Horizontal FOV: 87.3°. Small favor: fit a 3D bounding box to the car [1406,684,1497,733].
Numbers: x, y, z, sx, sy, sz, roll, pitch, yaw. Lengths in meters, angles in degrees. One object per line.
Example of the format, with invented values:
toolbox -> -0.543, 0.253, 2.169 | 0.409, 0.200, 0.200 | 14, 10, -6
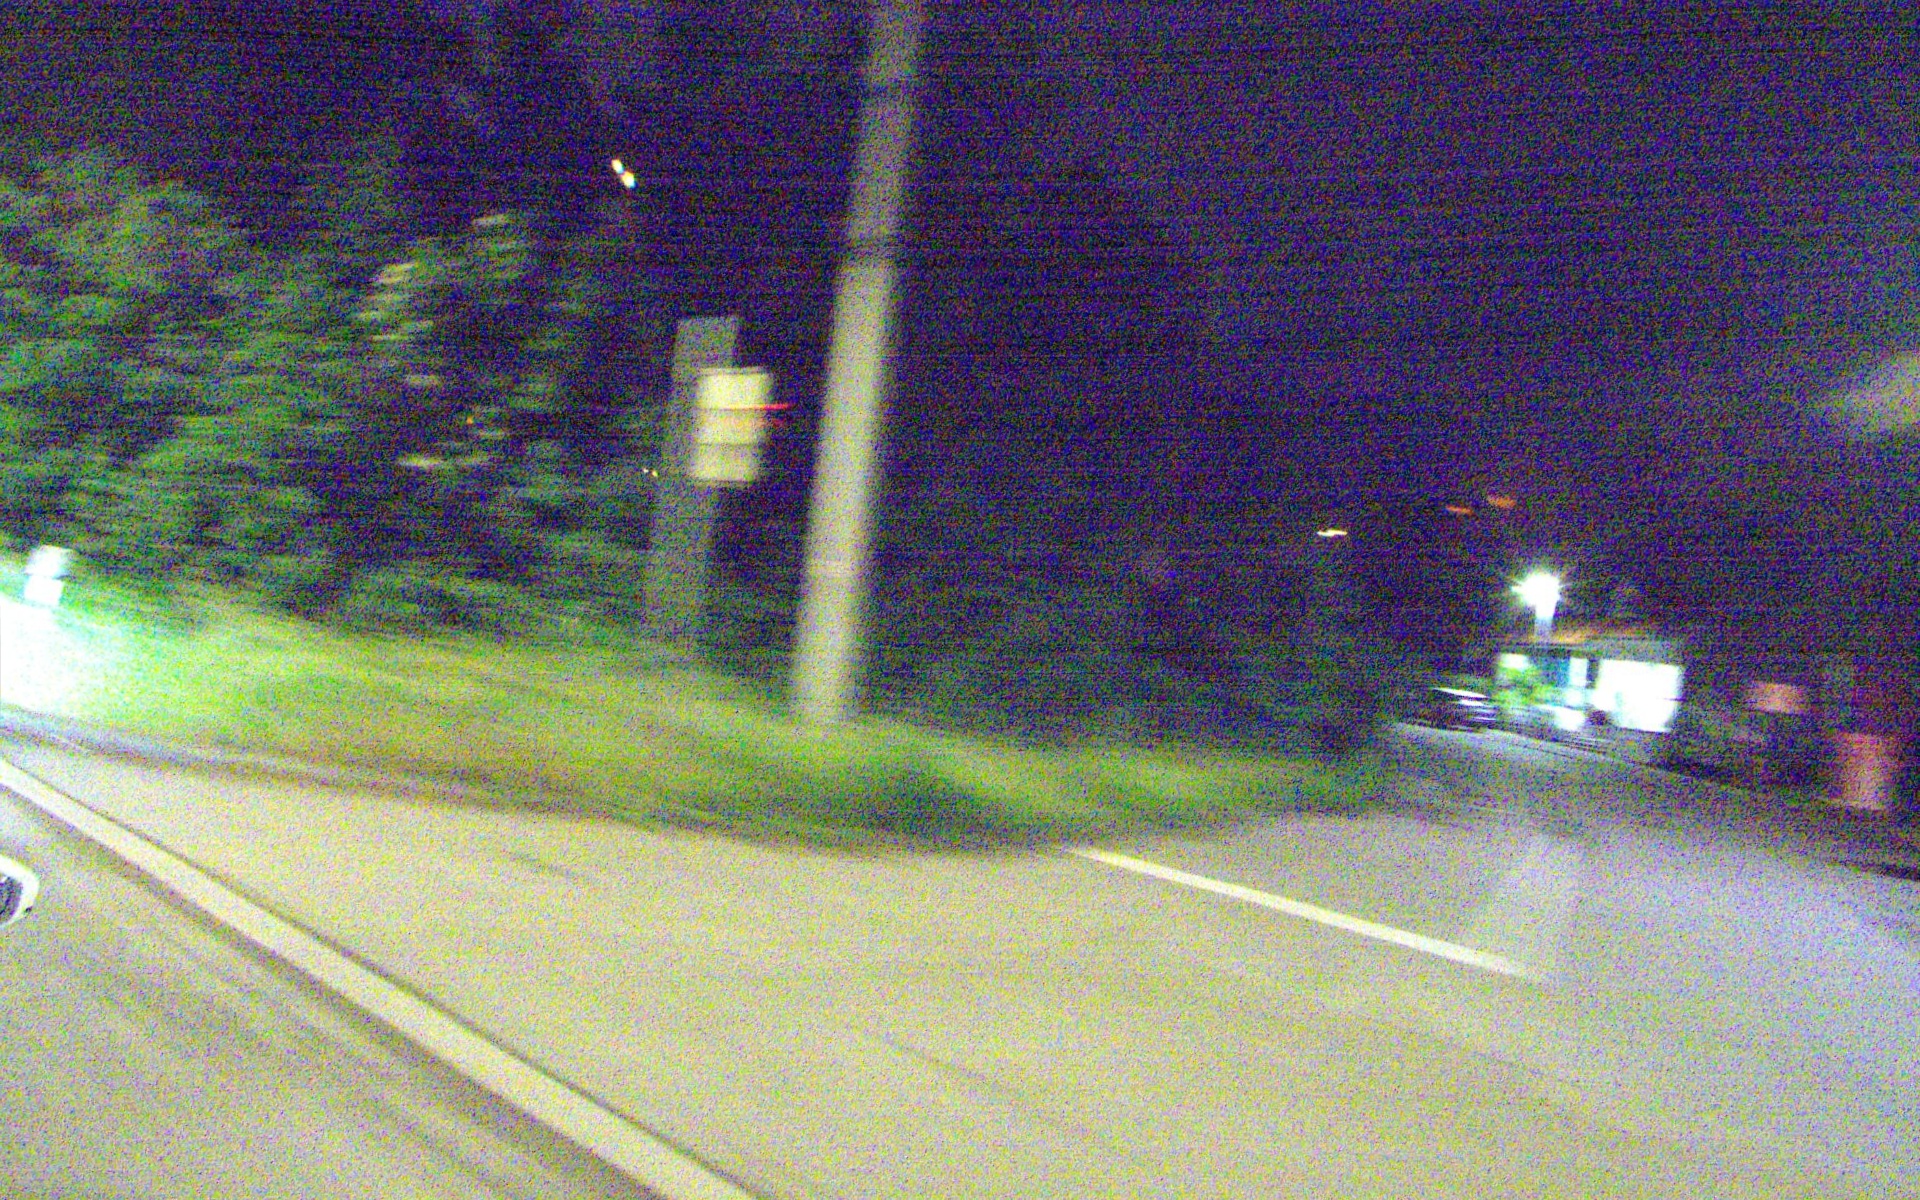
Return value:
car -> 20.721, 4.552, 42.585 | 1.730, 1.562, 3.872 | 8, -2, 0
